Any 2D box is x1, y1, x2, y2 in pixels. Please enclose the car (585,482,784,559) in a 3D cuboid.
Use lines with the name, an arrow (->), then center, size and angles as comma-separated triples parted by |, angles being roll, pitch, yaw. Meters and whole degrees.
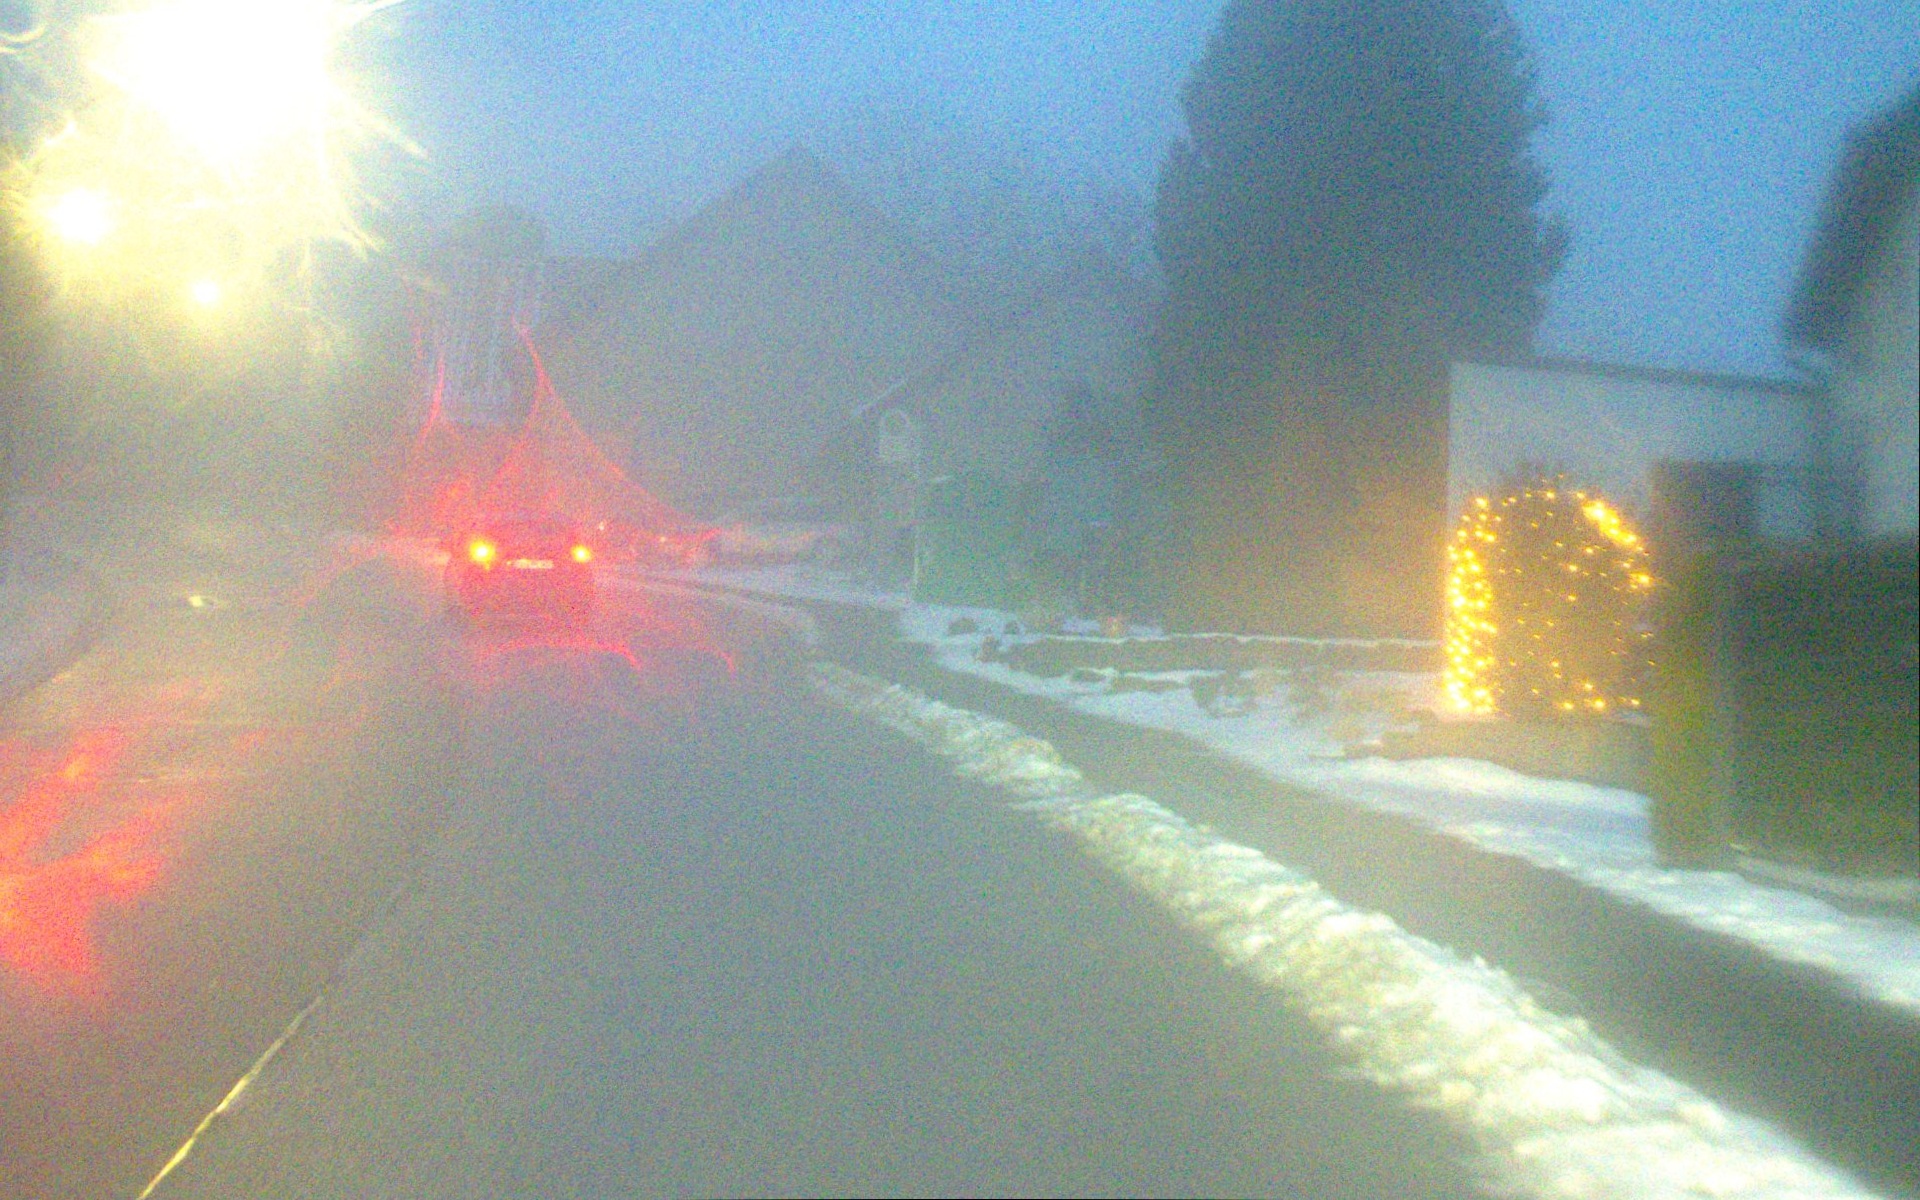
car -> -5.968, -1.706, 74.297 | 4.157, 1.554, 1.946 | 0, -1, -8

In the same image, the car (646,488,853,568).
car -> -4.367, -1.480, 71.543 | 4.242, 1.554, 2.000 | 0, -1, -3

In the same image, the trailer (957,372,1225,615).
trailer -> 1.987, -1.647, 54.343 | 2.874, 3.548, 5.064 | 2, 1, -13

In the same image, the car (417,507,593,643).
car -> -6.161, -0.300, 46.225 | 1.993, 1.731, 3.879 | 1, -1, -13

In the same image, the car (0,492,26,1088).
car -> -4.498, 0.403, 9.421 | 3.998, 1.603, 1.898 | 4, 2, 44
